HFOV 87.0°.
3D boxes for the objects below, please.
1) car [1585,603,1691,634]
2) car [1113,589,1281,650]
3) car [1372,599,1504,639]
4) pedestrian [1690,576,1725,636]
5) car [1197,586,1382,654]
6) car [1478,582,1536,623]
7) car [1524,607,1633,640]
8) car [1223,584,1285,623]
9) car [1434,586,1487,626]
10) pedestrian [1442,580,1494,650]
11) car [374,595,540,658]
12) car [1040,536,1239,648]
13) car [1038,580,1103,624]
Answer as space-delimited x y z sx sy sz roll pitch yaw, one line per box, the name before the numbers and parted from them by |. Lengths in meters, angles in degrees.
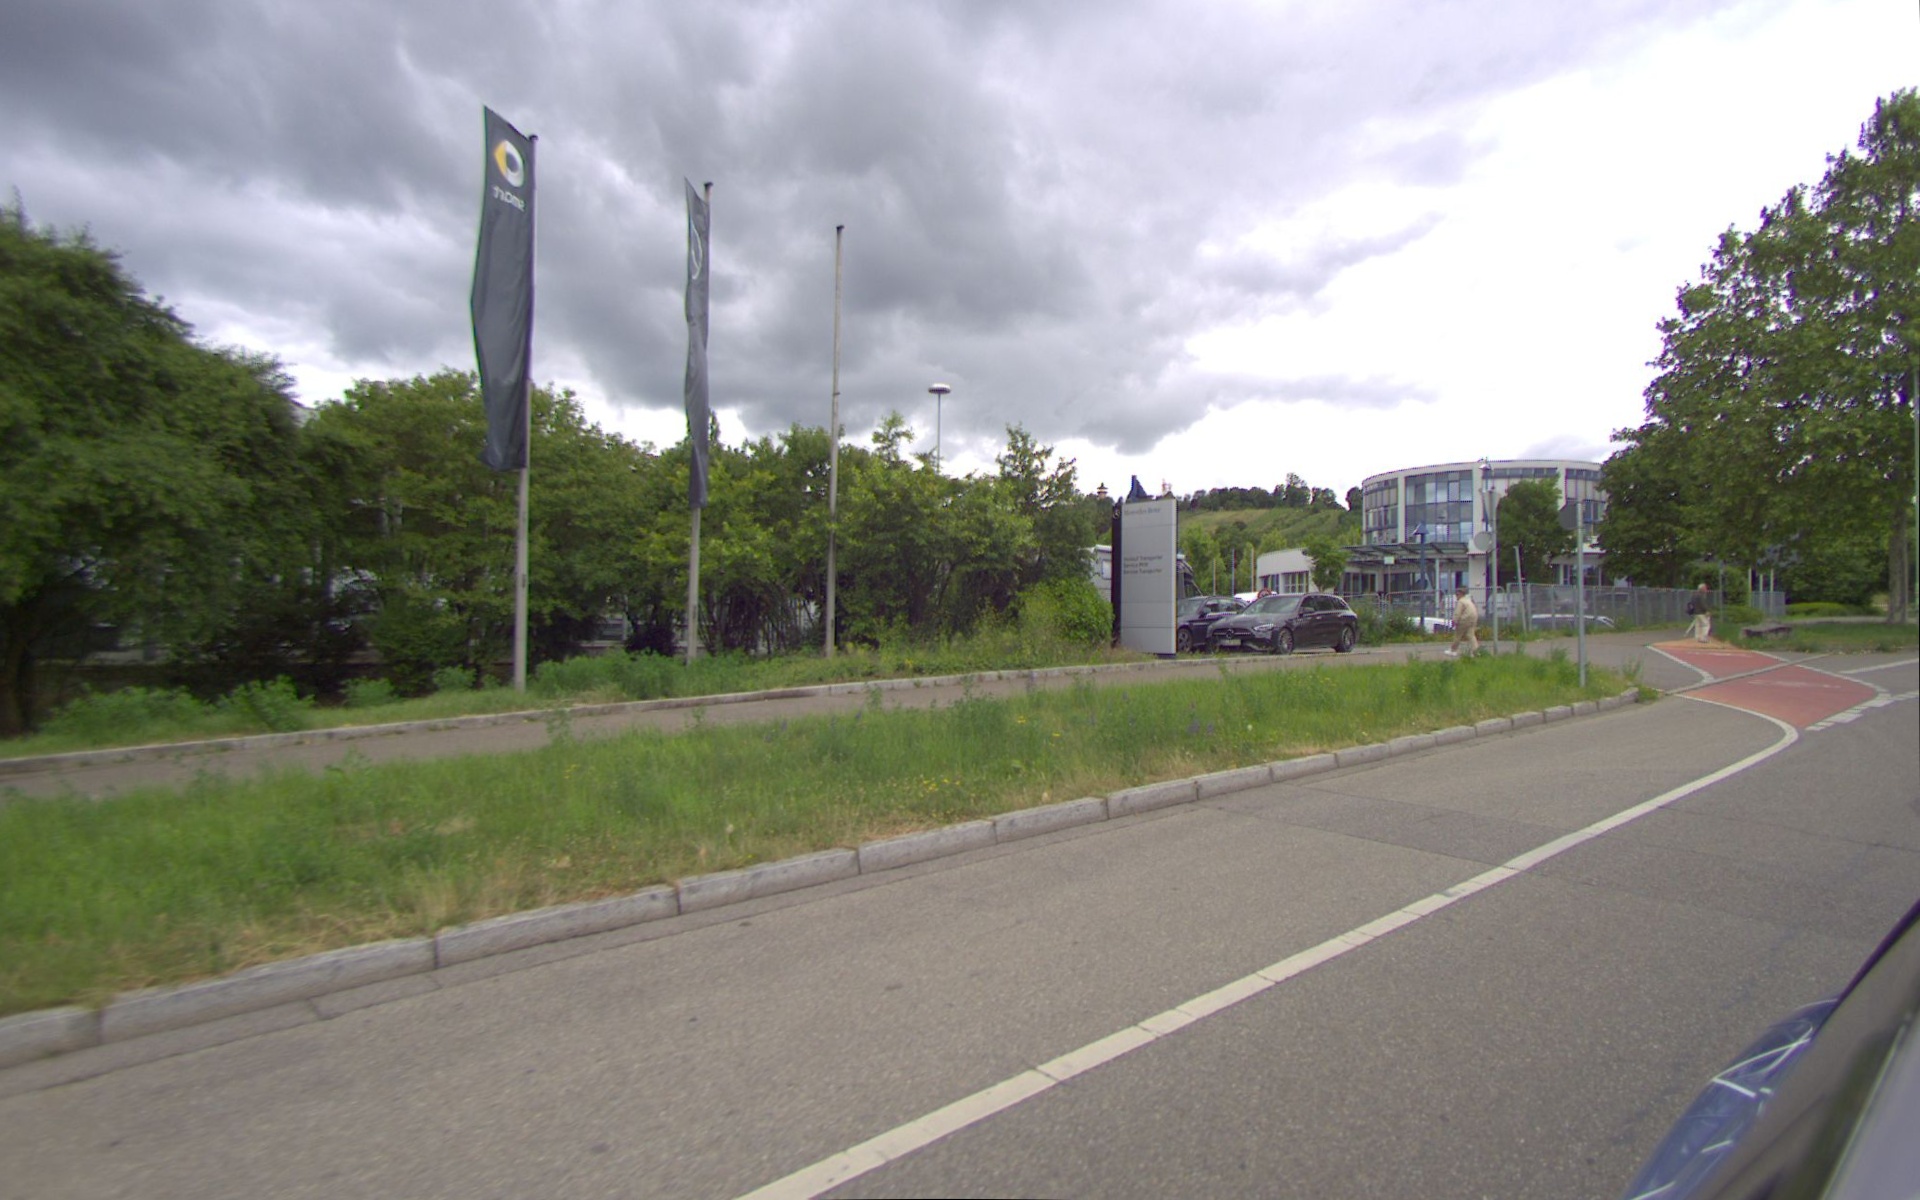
car | 34.867 0.972 52.120 1.787 1.467 4.181 1 -3 -42
car | 6.130 0.508 25.930 4.535 1.435 1.849 1 -3 -41
car | 17.926 0.742 38.107 1.963 1.335 3.995 1 -4 -38
pedestrian | 22.153 0.164 29.988 0.494 1.748 0.732 -1 2 -45
car | 7.768 0.425 23.618 4.894 1.435 1.849 0 -2 -41
car | 32.284 0.134 59.896 2.086 2.304 4.460 0 0 16
car | 30.348 1.170 49.735 1.787 1.467 4.181 1 -3 -42
car | 21.363 0.249 73.574 4.402 2.791 2.219 1 -1 -39
car | 30.297 0.344 61.408 2.086 2.304 4.460 0 0 16
pedestrian | 11.754 0.330 23.452 0.798 1.586 0.942 0 2 8
car | -11.303 0.588 22.831 3.026 1.312 1.596 1 -2 -43
car | 5.262 -0.103 28.940 6.610 2.855 1.995 2 -4 -43
car | 8.320 0.125 76.376 2.184 3.239 4.510 1 -1 -43
